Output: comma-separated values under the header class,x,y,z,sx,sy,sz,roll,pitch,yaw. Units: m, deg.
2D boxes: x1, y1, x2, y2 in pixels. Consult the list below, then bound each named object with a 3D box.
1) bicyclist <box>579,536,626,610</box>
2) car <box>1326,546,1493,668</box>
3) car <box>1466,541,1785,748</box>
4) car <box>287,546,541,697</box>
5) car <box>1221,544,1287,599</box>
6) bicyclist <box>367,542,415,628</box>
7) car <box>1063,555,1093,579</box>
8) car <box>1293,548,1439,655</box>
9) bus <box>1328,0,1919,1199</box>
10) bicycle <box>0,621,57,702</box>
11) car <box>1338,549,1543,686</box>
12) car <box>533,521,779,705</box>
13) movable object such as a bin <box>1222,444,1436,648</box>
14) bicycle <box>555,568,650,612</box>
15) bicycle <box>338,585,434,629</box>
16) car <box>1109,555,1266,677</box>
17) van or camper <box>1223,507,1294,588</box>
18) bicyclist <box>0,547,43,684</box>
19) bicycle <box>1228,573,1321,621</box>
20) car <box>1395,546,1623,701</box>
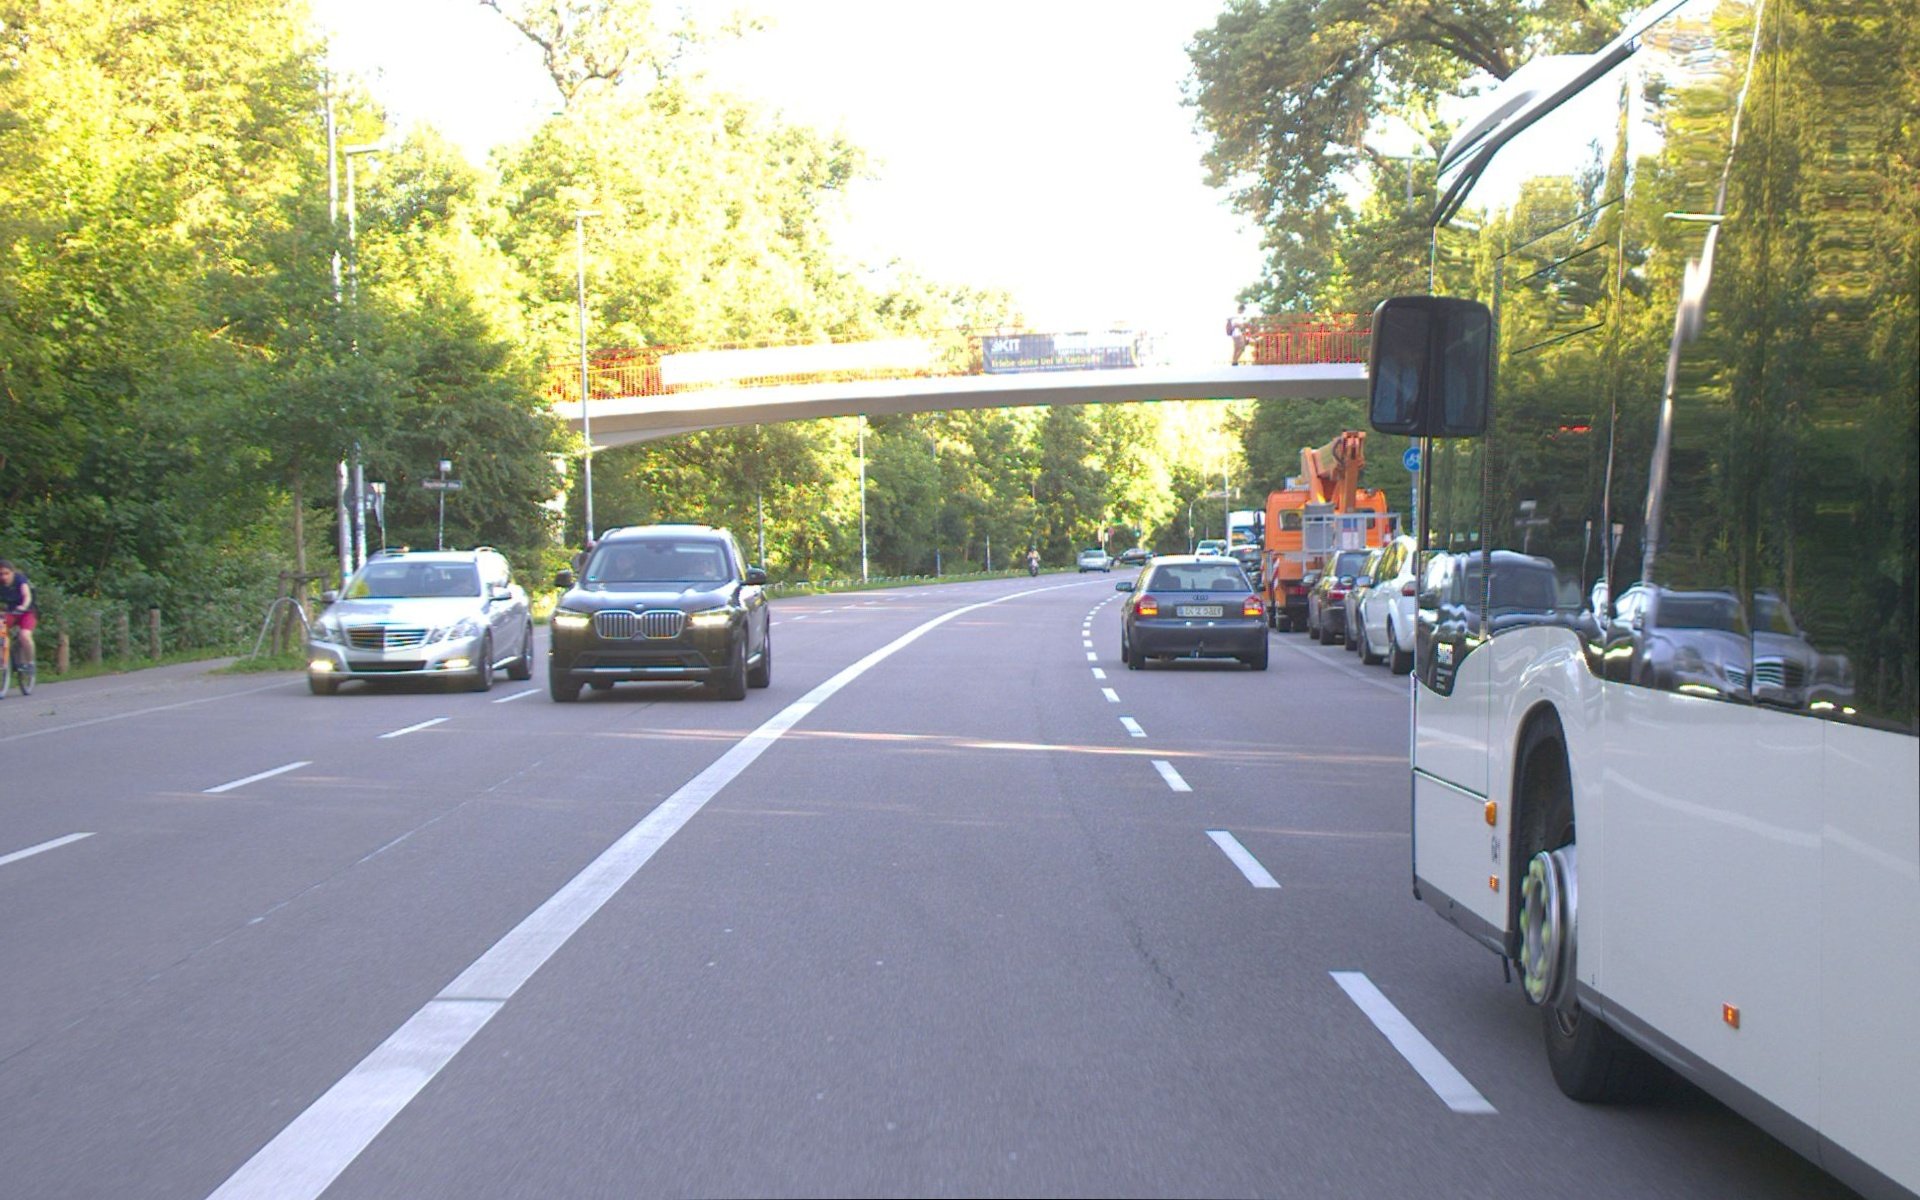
class,x,y,z,sx,sy,sz,roll,pitch,yaw
bicyclist,-7.963,-0.593,76.575,0.796,1.638,0.841,0,1,12
car,6.099,0.058,47.076,1.727,1.568,4.090,0,1,0
car,5.245,0.304,27.586,1.727,1.519,4.090,-1,1,0
car,-5.800,0.188,37.042,1.898,1.526,4.529,0,1,2
car,8.532,-0.846,99.657,1.723,1.491,3.774,-3,1,7
bicyclist,-12.661,-0.334,76.518,0.796,1.894,0.817,0,1,12
car,7.453,-2.092,217.521,1.681,1.402,3.889,-2,0,4
car,6.173,0.002,52.631,1.727,1.569,4.090,0,1,0
bus,2.830,-0.095,6.324,2.704,3.211,12.280,0,1,-1
bicycle,-10.443,0.675,37.822,0.495,0.811,1.808,-3,1,0
car,5.759,0.177,41.682,1.838,1.569,4.459,0,1,0
car,-2.948,0.093,34.241,1.918,1.698,4.442,-1,1,2
movable object such as a bin,6.424,-0.961,60.868,2.758,3.359,7.601,-1,1,-1
bicycle,-7.955,-0.222,76.581,1.928,0.931,0.824,-1,1,13
bicycle,-12.780,0.151,76.546,1.928,0.931,0.824,-1,1,12
car,2.785,0.161,42.747,1.728,1.436,4.090,0,1,1
van or camper,9.589,-1.698,110.698,2.119,2.509,5.979,-1,1,4
bicyclist,-10.470,0.171,37.792,0.499,1.479,0.761,-3,1,1
bicycle,7.345,-0.073,80.384,2.061,1.064,0.870,-2,0,-1
car,5.730,0.198,36.293,1.727,1.536,4.090,0,1,0
